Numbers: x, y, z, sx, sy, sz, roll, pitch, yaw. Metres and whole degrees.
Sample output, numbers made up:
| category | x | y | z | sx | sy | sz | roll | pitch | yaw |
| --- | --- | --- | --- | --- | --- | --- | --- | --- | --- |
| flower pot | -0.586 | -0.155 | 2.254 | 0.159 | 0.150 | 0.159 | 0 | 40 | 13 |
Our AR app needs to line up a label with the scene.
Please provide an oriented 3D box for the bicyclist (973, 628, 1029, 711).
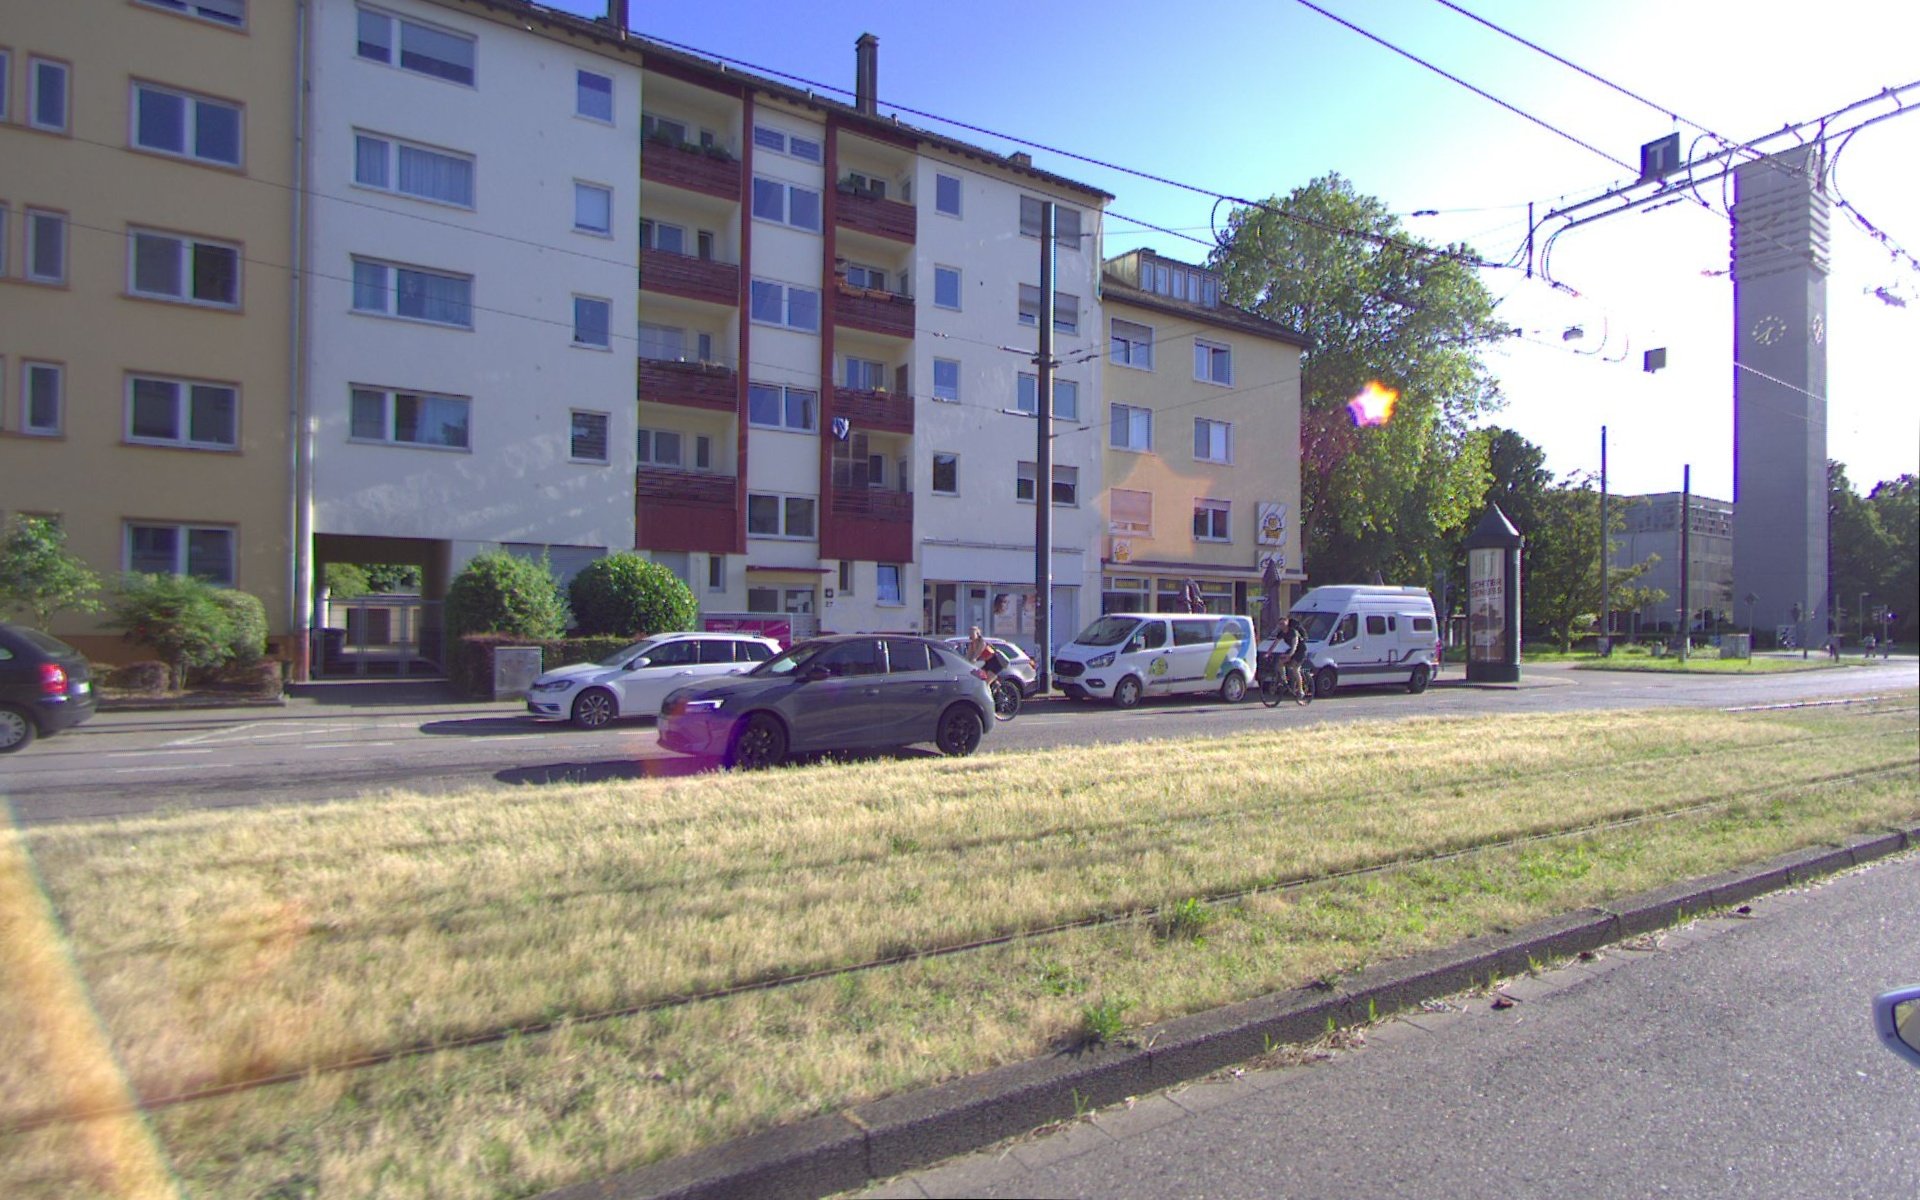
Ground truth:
| category | x | y | z | sx | sy | sz | roll | pitch | yaw |
| --- | --- | --- | --- | --- | --- | --- | --- | --- | --- |
| bicyclist | 0.709 | 1.187 | 17.430 | 0.641 | 1.402 | 0.769 | 1 | -2 | -31 |

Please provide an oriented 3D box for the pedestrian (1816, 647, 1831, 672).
| category | x | y | z | sx | sy | sz | roll | pitch | yaw |
| --- | --- | --- | --- | --- | --- | --- | --- | --- | --- |
| pedestrian | 60.652 | 4.169 | 70.554 | 0.735 | 1.689 | 0.442 | 2 | 1 | -22 |

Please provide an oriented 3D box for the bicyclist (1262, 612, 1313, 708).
| category | x | y | z | sx | sy | sz | roll | pitch | yaw |
| --- | --- | --- | --- | --- | --- | --- | --- | --- | --- |
| bicyclist | 7.162 | 1.291 | 21.951 | 0.641 | 2.040 | 0.769 | 1 | 1 | -31 |

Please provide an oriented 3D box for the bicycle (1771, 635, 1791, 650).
| category | x | y | z | sx | sy | sz | roll | pitch | yaw |
| --- | --- | --- | --- | --- | --- | --- | --- | --- | --- |
| bicycle | 62.223 | 3.242 | 76.105 | 1.660 | 1.060 | 0.489 | 2 | 1 | -25 |

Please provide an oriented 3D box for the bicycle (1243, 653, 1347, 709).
| category | x | y | z | sx | sy | sz | roll | pitch | yaw |
| --- | --- | --- | --- | --- | --- | --- | --- | --- | --- |
| bicycle | 7.347 | 1.746 | 21.967 | 2.447 | 1.161 | 0.764 | 2 | -4 | -32 |

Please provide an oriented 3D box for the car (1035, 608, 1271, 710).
| category | x | y | z | sx | sy | sz | roll | pitch | yaw |
| --- | --- | --- | --- | --- | --- | --- | --- | --- | --- |
| car | 4.492 | 1.303 | 23.069 | 5.309 | 2.048 | 2.022 | 2 | 1 | -31 |

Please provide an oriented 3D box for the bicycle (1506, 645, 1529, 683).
| category | x | y | z | sx | sy | sz | roll | pitch | yaw |
| --- | --- | --- | --- | --- | --- | --- | --- | --- | --- |
| bicycle | 19.748 | 2.243 | 35.583 | 0.510 | 1.268 | 2.089 | 2 | -1 | 24 |

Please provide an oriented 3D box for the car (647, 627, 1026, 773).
| category | x | y | z | sx | sy | sz | roll | pitch | yaw |
| --- | --- | --- | --- | --- | --- | --- | --- | --- | --- |
| car | -1.400 | 1.092 | 11.930 | 4.169 | 1.467 | 1.686 | 2 | -3 | -31 |

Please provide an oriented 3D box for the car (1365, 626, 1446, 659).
| category | x | y | z | sx | sy | sz | roll | pitch | yaw |
| --- | --- | --- | --- | --- | --- | --- | --- | --- | --- |
| car | 22.678 | 2.142 | 51.283 | 1.719 | 1.622 | 3.991 | 0 | -2 | -13 |

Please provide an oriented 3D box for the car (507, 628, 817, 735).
| category | x | y | z | sx | sy | sz | roll | pitch | yaw |
| --- | --- | --- | --- | --- | --- | --- | --- | --- | --- |
| car | -4.946 | 1.283 | 16.943 | 4.655 | 1.511 | 1.880 | 2 | 0 | -34 |

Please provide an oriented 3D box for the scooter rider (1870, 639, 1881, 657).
| category | x | y | z | sx | sy | sz | roll | pitch | yaw |
| --- | --- | --- | --- | --- | --- | --- | --- | --- | --- |
| scooter rider | 62.703 | 3.293 | 68.772 | 0.520 | 1.234 | 0.584 | 2 | 1 | 42 |

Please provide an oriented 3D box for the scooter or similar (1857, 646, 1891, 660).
| category | x | y | z | sx | sy | sz | roll | pitch | yaw |
| --- | --- | --- | --- | --- | --- | --- | --- | --- | --- |
| scooter or similar | 62.635 | 3.611 | 68.836 | 1.716 | 0.911 | 0.560 | -1 | -2 | 44 |

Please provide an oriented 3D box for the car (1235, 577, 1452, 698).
| category | x | y | z | sx | sy | sz | roll | pitch | yaw |
| --- | --- | --- | --- | --- | --- | --- | --- | --- | --- |
| car | 10.297 | 0.984 | 26.744 | 6.157 | 2.907 | 2.022 | 2 | -1 | -31 |

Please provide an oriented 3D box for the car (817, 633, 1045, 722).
| category | x | y | z | sx | sy | sz | roll | pitch | yaw |
| --- | --- | --- | --- | --- | --- | --- | --- | --- | --- |
| car | -0.516 | 1.466 | 19.887 | 4.283 | 1.535 | 1.683 | 2 | -1 | -35 |

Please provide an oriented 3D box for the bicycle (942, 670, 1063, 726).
| category | x | y | z | sx | sy | sz | roll | pitch | yaw |
| --- | --- | --- | --- | --- | --- | --- | --- | --- | --- |
| bicycle | 0.754 | 1.673 | 17.479 | 2.046 | 0.891 | 0.764 | 2 | -4 | -32 |

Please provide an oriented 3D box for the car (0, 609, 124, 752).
| category | x | y | z | sx | sy | sz | roll | pitch | yaw |
| --- | --- | --- | --- | --- | --- | --- | --- | --- | --- |
| car | -13.003 | 0.944 | 12.192 | 4.105 | 1.629 | 1.982 | 2 | 1 | -32 |
